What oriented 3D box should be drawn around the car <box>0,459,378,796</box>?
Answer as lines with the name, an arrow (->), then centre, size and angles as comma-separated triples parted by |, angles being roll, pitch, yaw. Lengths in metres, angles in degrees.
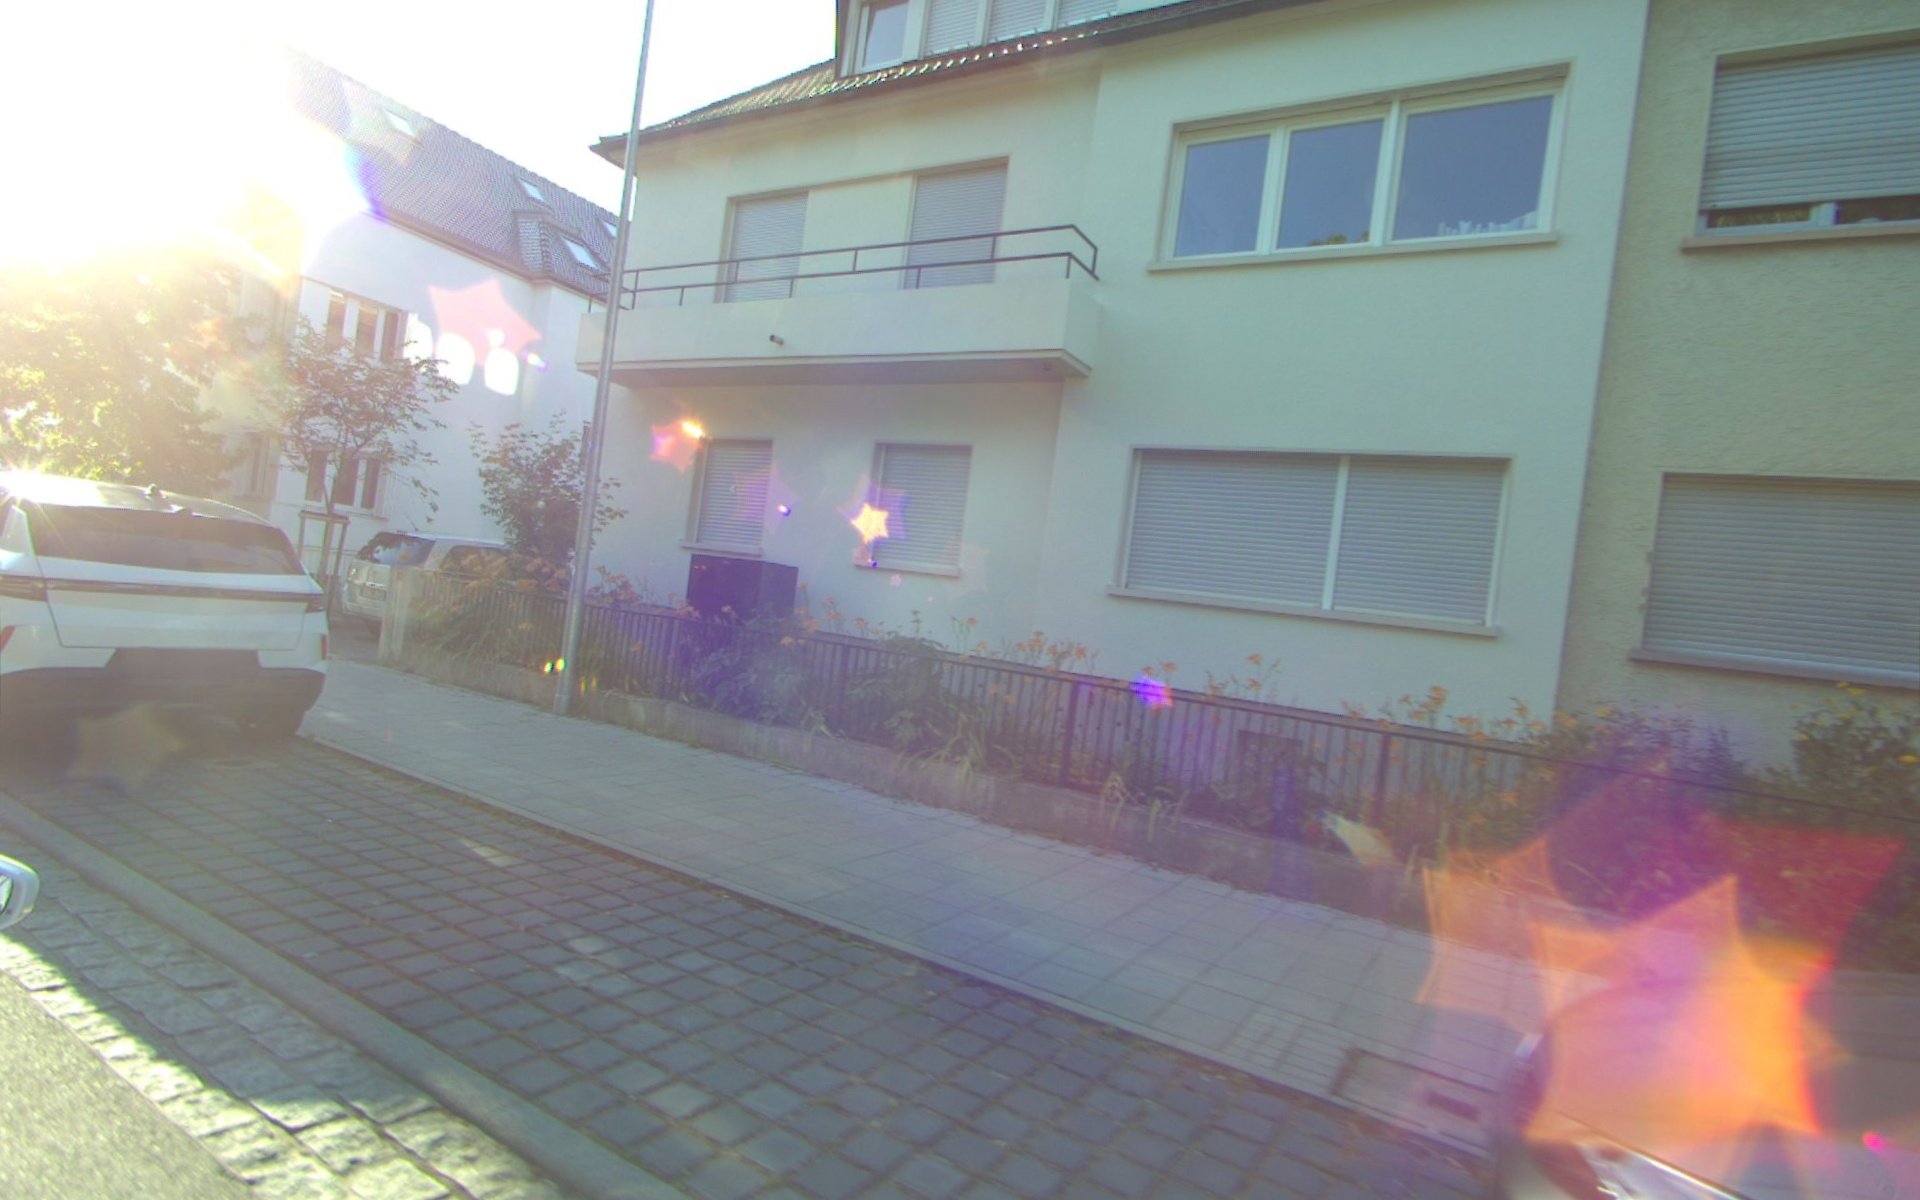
car -> -6.309, -0.060, 7.109 | 4.500, 1.730, 1.906 | 8, 2, 33

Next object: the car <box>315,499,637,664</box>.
car -> -7.178, -0.167, 15.378 | 1.783, 1.866, 3.996 | 9, -1, 26

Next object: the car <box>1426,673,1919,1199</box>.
car -> 2.997, 1.169, 1.373 | 4.124, 1.514, 1.795 | 7, 2, 32
